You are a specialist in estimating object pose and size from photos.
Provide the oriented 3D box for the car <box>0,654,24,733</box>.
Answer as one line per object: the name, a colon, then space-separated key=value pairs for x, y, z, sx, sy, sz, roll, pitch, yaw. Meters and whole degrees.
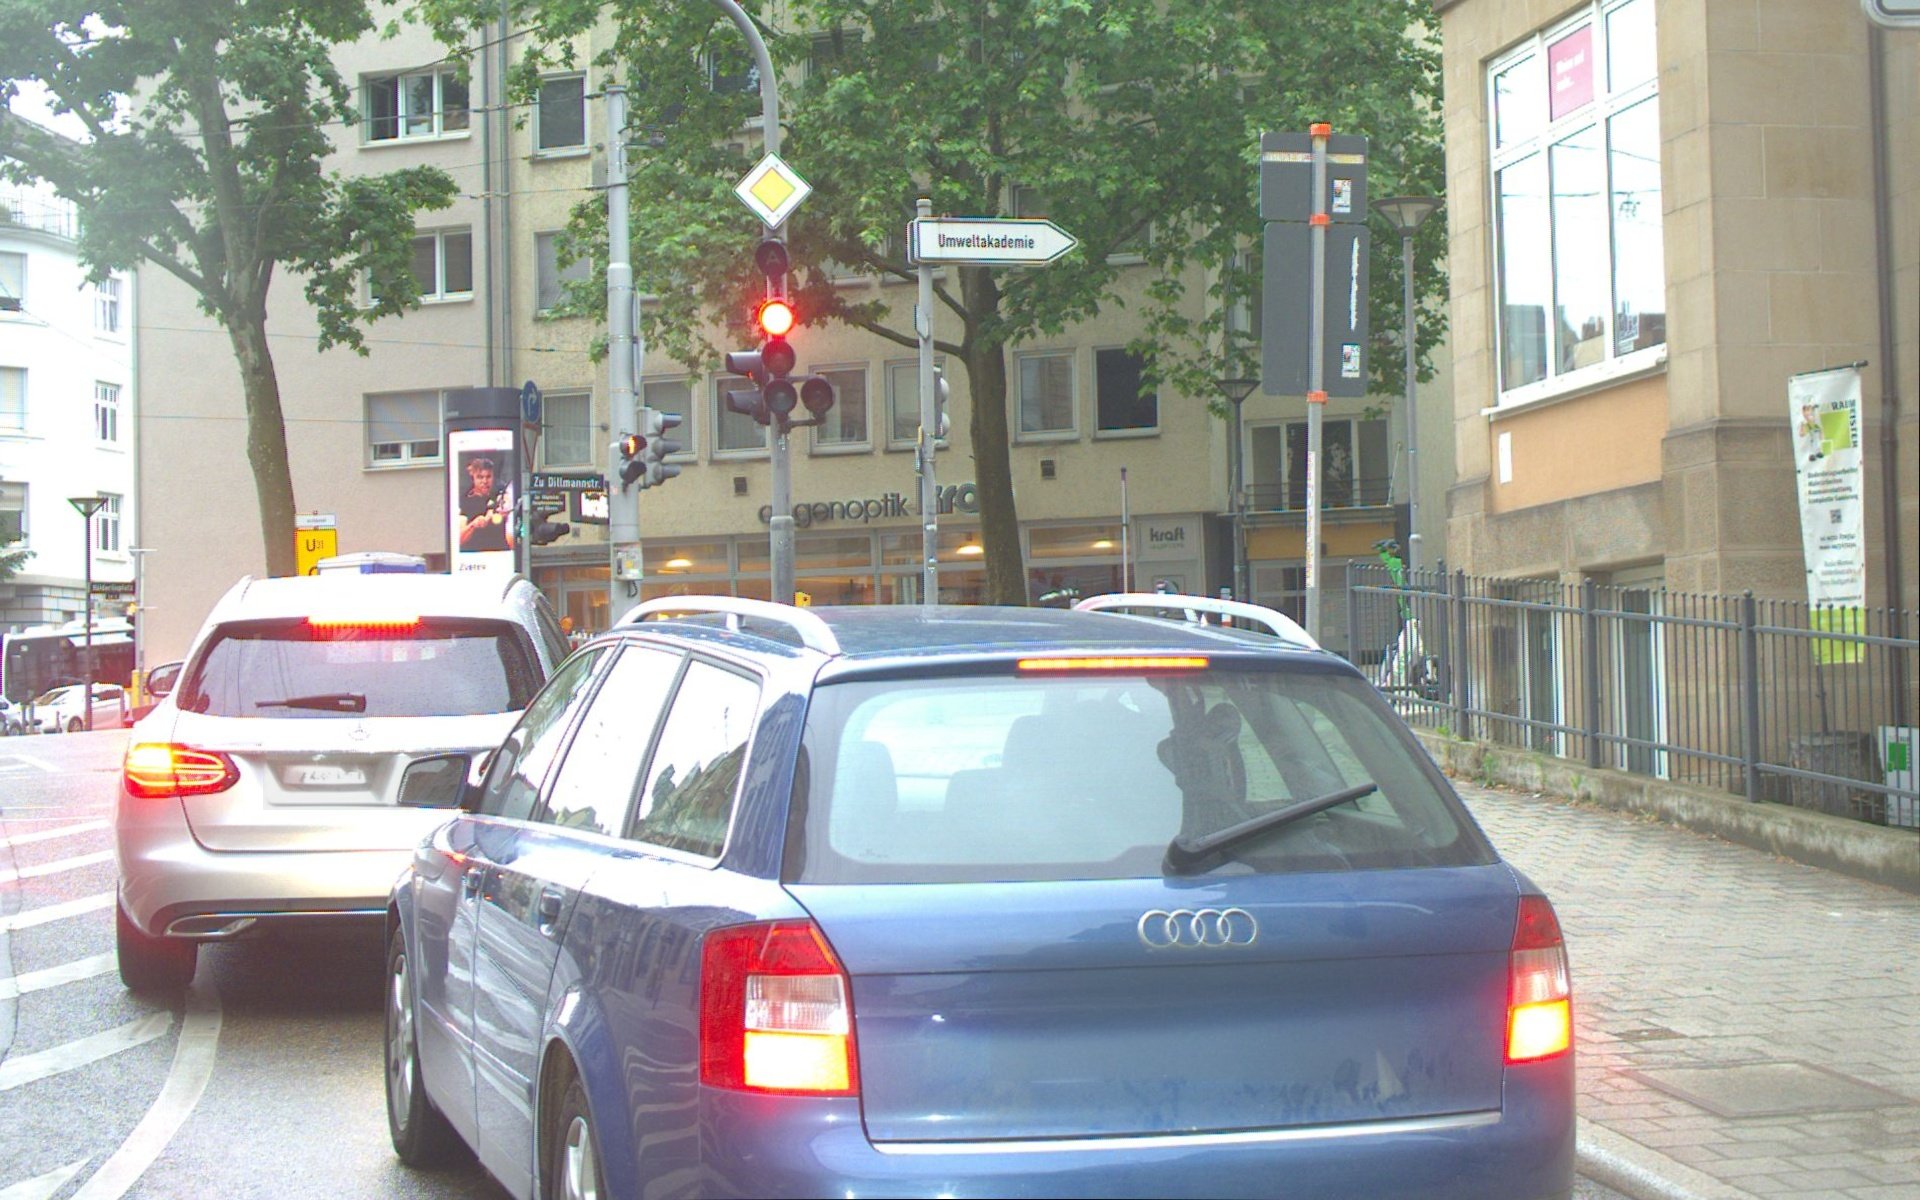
car: x=-19.973 y=1.944 z=68.062 sx=1.794 sy=1.505 sz=4.000 roll=-4 pitch=1 yaw=-1

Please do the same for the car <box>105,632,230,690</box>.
car: x=-23.417 y=1.788 z=101.670 sx=1.796 sy=1.505 sz=3.997 roll=-1 pitch=1 yaw=17

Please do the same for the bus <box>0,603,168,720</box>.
bus: x=-25.126 y=1.647 z=94.462 sx=2.856 sy=2.851 sz=8.728 roll=-1 pitch=1 yaw=14

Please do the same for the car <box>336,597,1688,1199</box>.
car: x=-0.223 y=0.734 z=7.243 sx=1.710 sy=1.410 sz=4.037 roll=0 pitch=1 yaw=-17

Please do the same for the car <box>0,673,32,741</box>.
car: x=-24.480 y=2.679 z=83.589 sx=1.796 sy=1.609 sz=3.997 roll=-1 pitch=1 yaw=17

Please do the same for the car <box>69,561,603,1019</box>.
car: x=-2.256 y=0.592 z=12.939 sx=1.710 sy=1.451 sz=3.554 roll=0 pitch=1 yaw=-8

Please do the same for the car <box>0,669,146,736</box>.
car: x=-22.818 y=2.628 z=88.487 sx=1.796 sy=1.505 sz=3.997 roll=-1 pitch=1 yaw=17

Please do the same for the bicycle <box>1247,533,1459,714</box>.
bicycle: x=2.714 y=0.156 z=23.769 sx=1.300 sy=1.169 sz=0.526 roll=-3 pitch=1 yaw=-12
